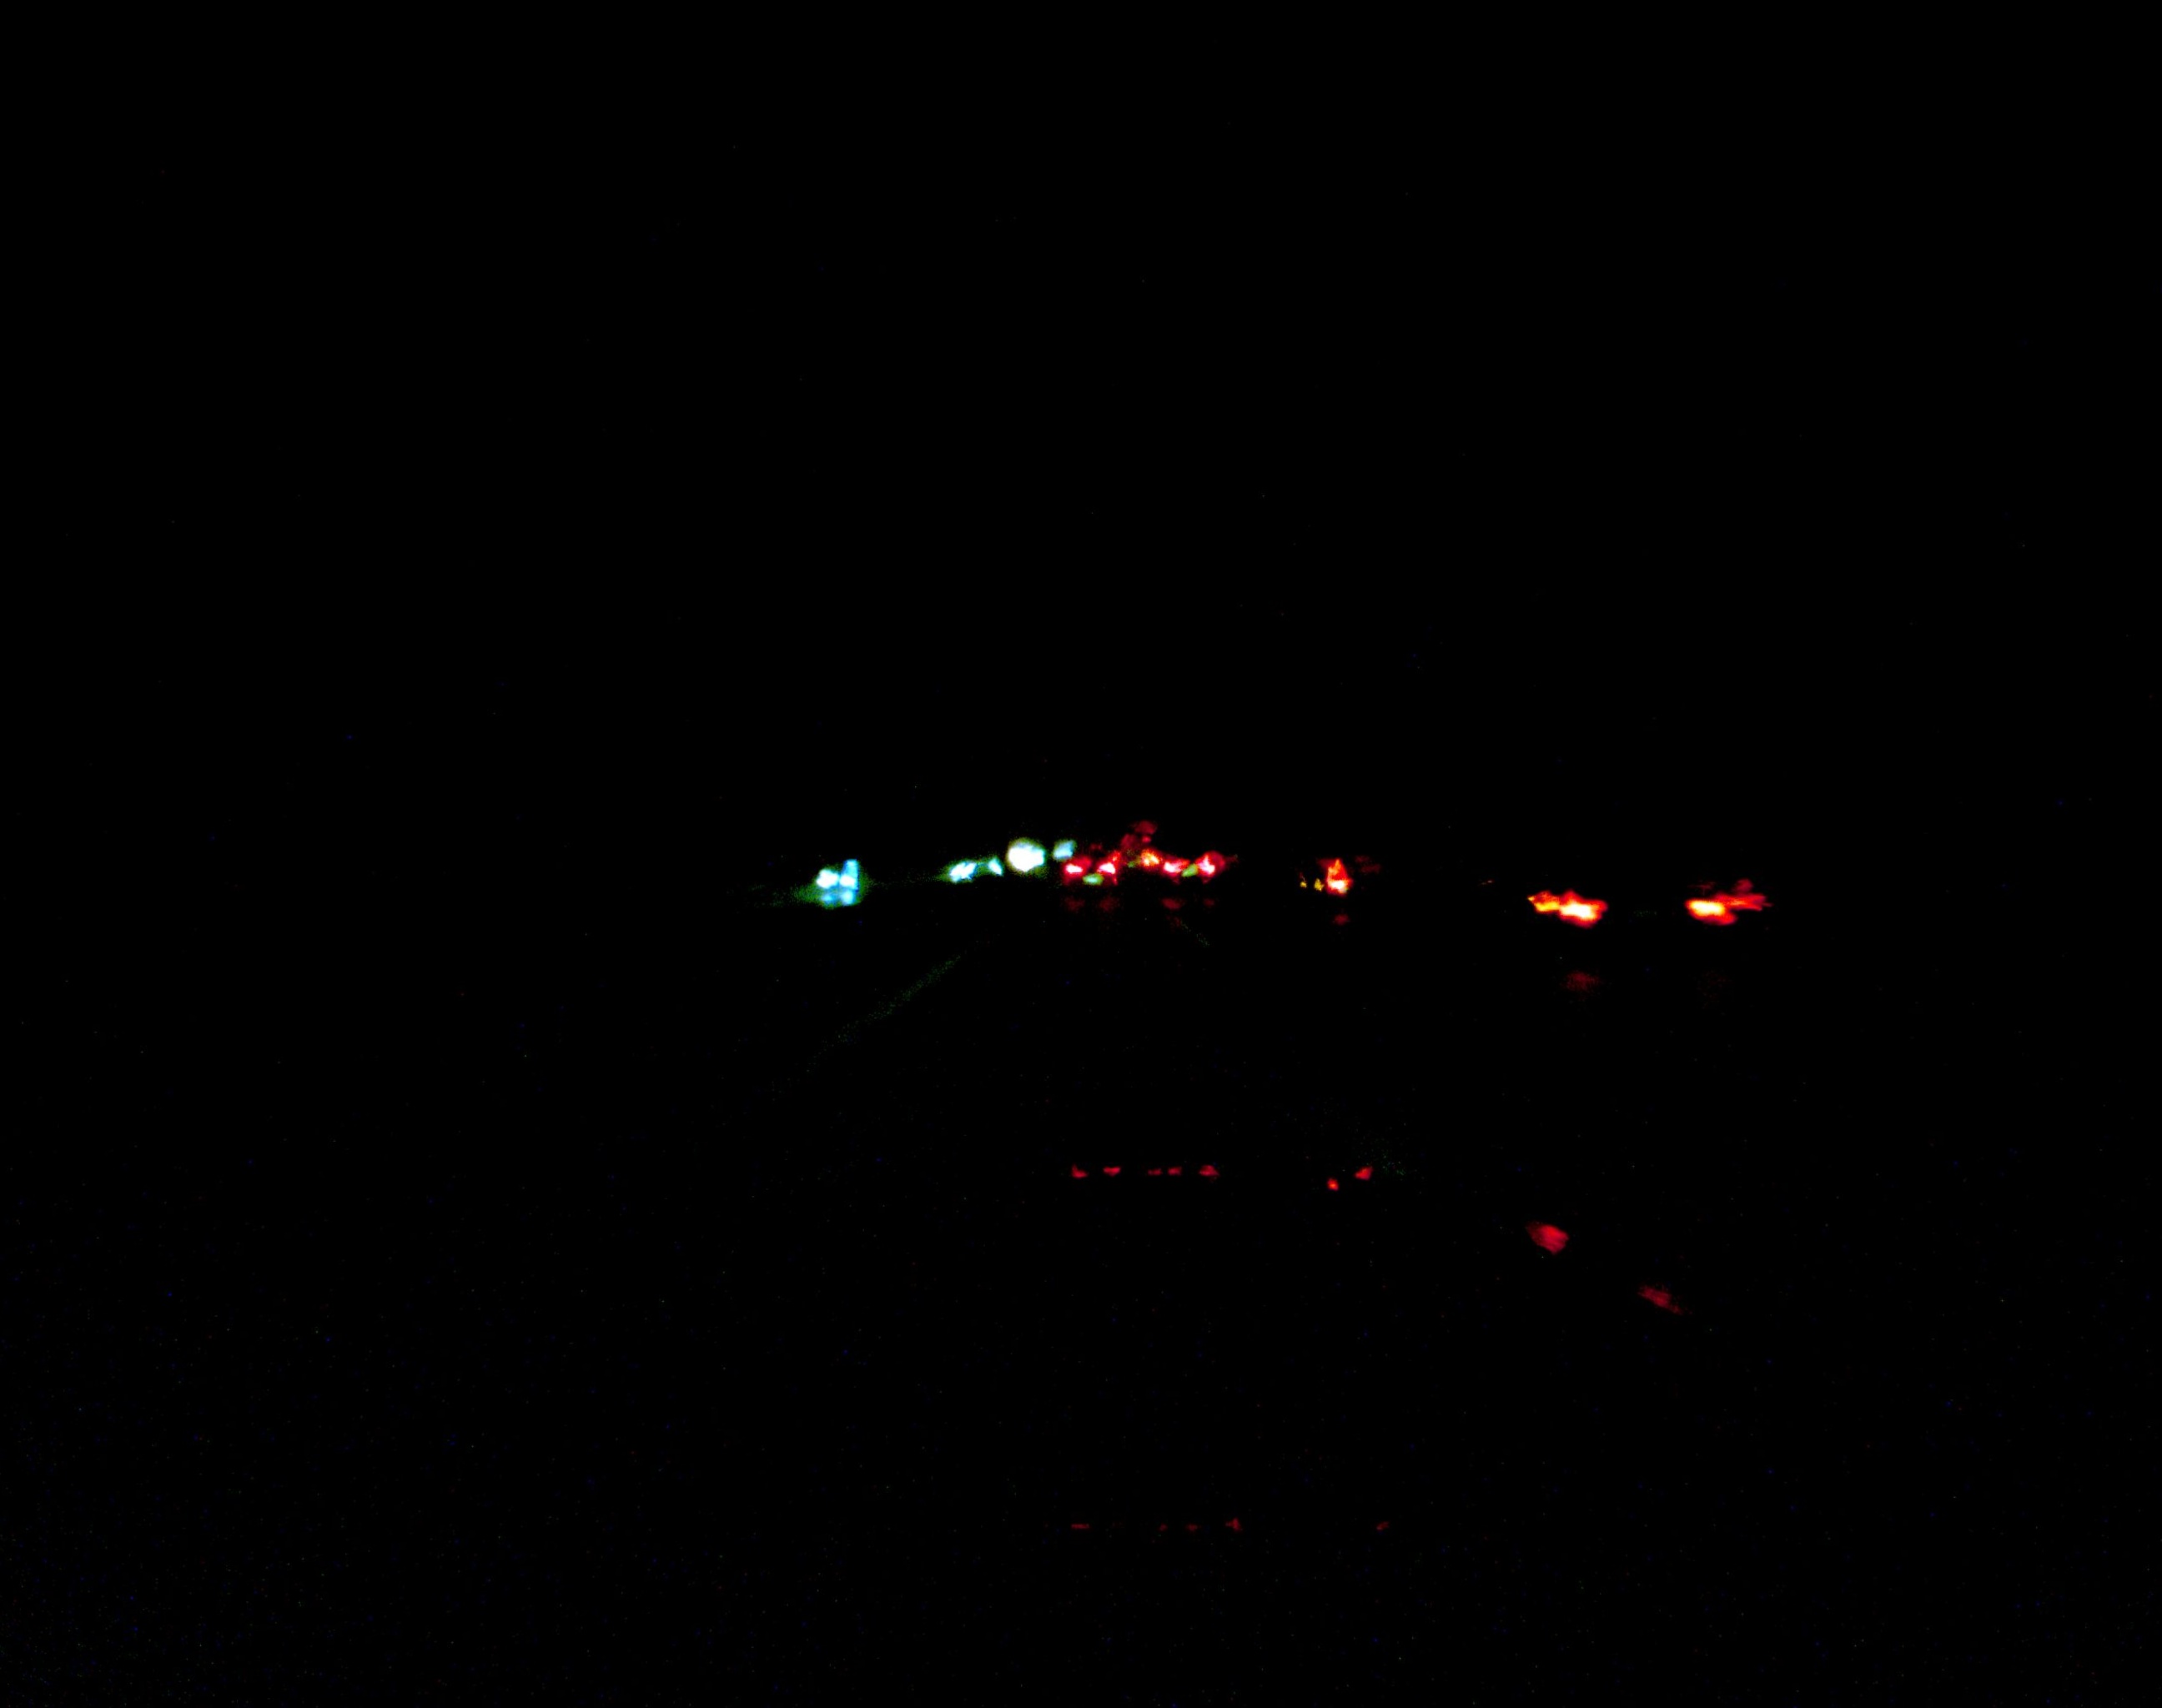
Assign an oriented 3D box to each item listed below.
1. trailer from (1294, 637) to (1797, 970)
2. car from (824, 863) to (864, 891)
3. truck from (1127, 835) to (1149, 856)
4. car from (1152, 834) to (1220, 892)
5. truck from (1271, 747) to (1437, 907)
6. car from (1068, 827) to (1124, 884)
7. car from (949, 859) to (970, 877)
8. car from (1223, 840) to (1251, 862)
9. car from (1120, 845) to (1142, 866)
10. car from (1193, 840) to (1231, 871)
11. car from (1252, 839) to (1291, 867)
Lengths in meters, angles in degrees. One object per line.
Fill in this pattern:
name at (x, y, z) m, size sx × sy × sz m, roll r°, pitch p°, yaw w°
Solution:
trailer at (7.759, -0.689, 17.365) m, size 3.030 × 4.108 × 13.834 m, roll -3°, pitch 0°, yaw 2°
car at (-19.330, 1.842, 66.470) m, size 1.987 × 2.013 × 3.999 m, roll -3°, pitch 0°, yaw 0°
truck at (9.537, -1.443, 136.852) m, size 3.026 × 3.297 × 11.386 m, roll -3°, pitch 0°, yaw 2°
car at (3.976, 0.313, 31.415) m, size 1.987 × 2.013 × 3.999 m, roll -3°, pitch 0°, yaw 0°
truck at (7.952, -0.741, 24.610) m, size 3.030 × 4.108 × 5.801 m, roll -3°, pitch 0°, yaw 2°
car at (0.604, 0.050, 31.137) m, size 1.986 × 2.013 × 4.002 m, roll 0°, pitch 0°, yaw 2°
car at (-15.458, 1.783, 104.170) m, size 1.987 × 2.013 × 3.999 m, roll -3°, pitch 0°, yaw 0°
car at (15.724, -0.292, 82.292) m, size 1.987 × 2.013 × 3.999 m, roll -3°, pitch 0°, yaw 0°
car at (5.274, 0.147, 86.904) m, size 1.987 × 2.013 × 3.999 m, roll -3°, pitch 0°, yaw 0°
car at (9.343, 0.097, 58.382) m, size 1.987 × 2.013 × 3.999 m, roll -3°, pitch 0°, yaw 0°
car at (14.478, -0.091, 62.119) m, size 1.987 × 2.013 × 3.999 m, roll -3°, pitch 0°, yaw 0°
